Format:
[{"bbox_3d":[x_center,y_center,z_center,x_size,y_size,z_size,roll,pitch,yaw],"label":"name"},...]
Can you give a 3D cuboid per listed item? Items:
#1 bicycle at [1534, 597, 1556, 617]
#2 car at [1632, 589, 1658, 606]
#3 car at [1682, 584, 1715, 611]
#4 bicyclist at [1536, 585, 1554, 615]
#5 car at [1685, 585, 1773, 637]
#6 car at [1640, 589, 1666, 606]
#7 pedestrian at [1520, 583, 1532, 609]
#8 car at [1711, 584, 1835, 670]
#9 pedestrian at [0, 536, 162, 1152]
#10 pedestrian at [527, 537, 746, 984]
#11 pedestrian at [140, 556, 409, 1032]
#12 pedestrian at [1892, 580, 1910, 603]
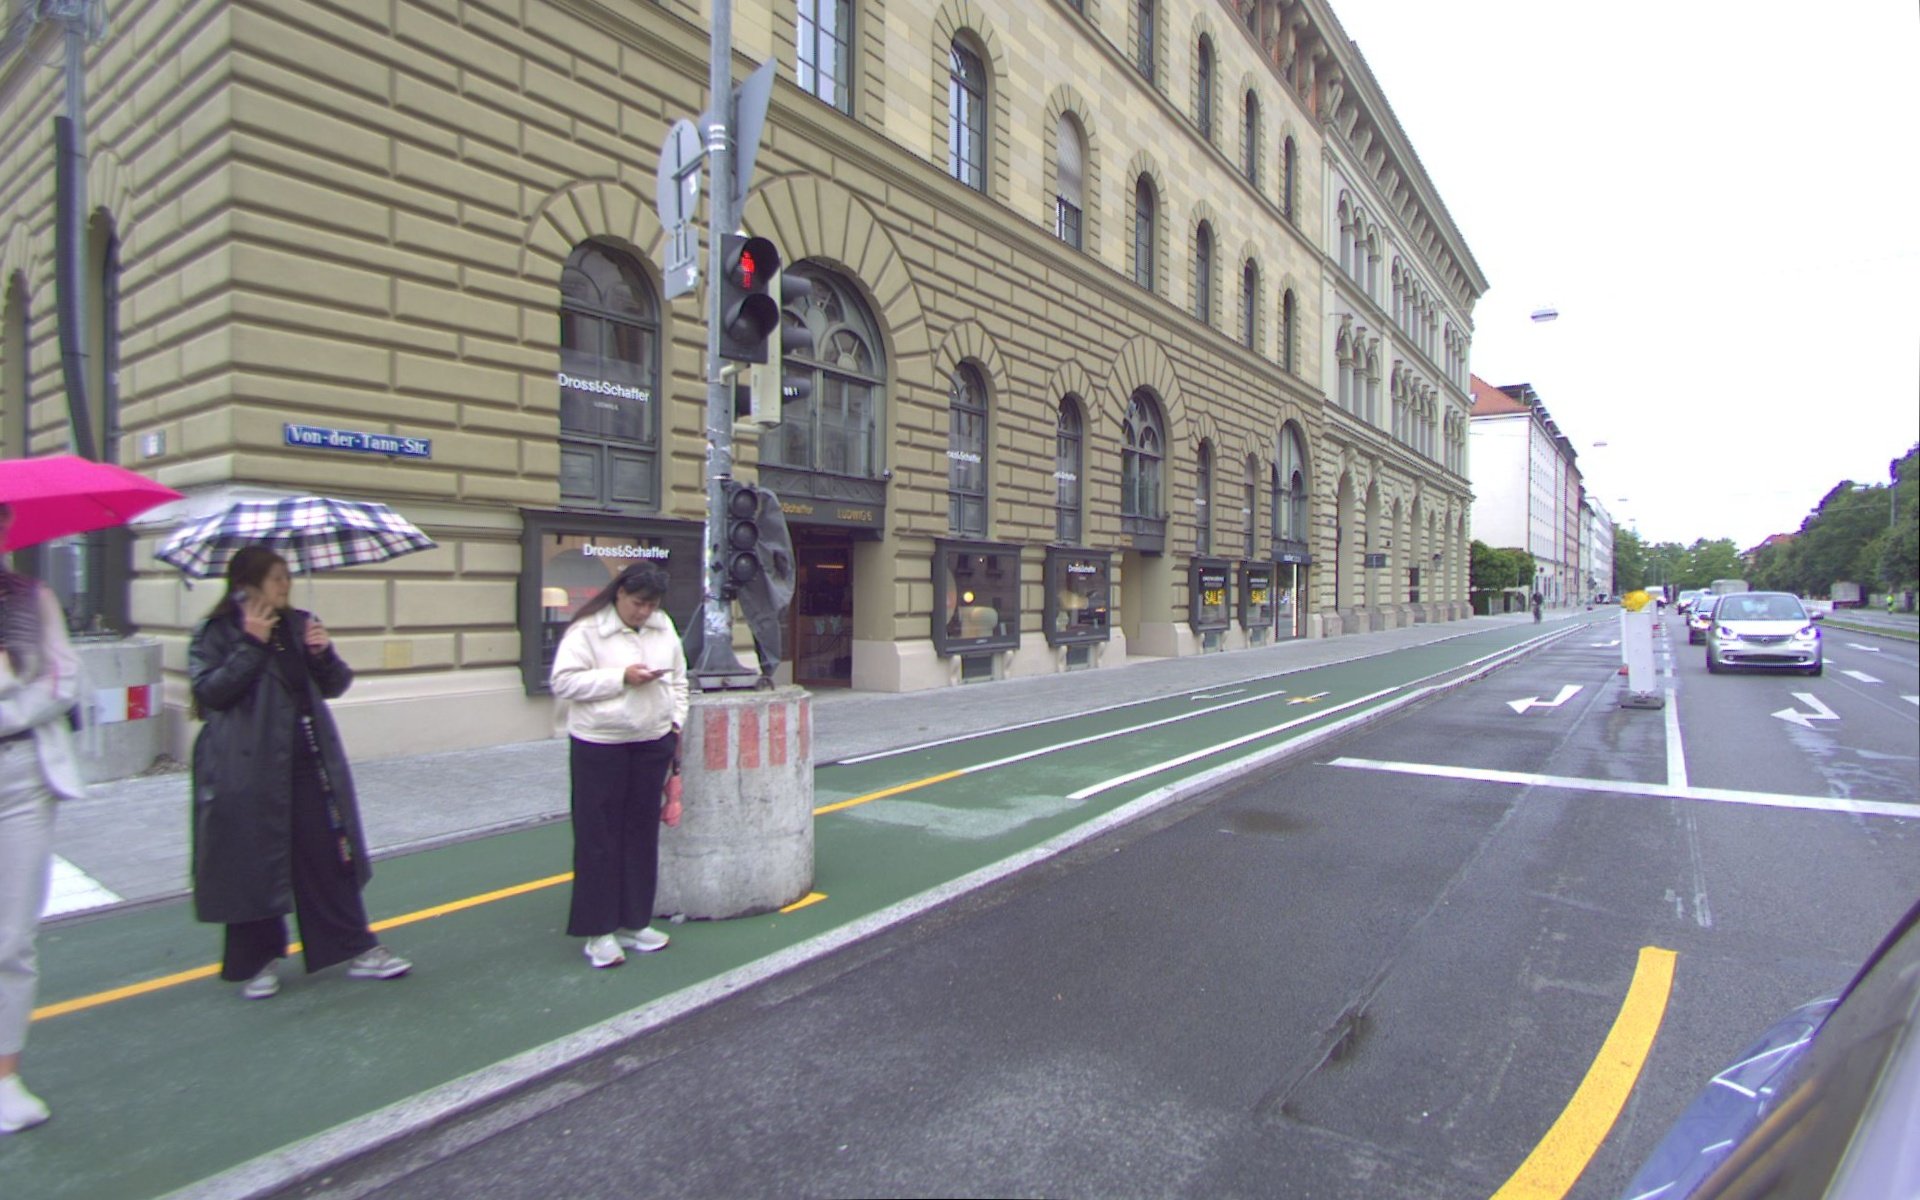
[{"bbox_3d":[30.517,0.354,52.796,0.746,1.045,2.499,-1,0,35],"label":"bicycle"},{"bbox_3d":[56.261,-0.195,83.092,1.729,1.337,3.949,-1,0,35],"label":"car"},{"bbox_3d":[57.858,-0.222,79.344,1.988,2.039,3.949,1,1,36],"label":"car"},{"bbox_3d":[30.529,0.012,52.828,0.720,1.572,0.848,-1,-1,35],"label":"bicyclist"},{"bbox_3d":[23.425,0.321,30.969,1.910,1.459,4.252,-2,-1,35],"label":"car"},{"bbox_3d":[59.684,-0.233,87.134,1.729,1.452,3.949,-1,0,35],"label":"car"},{"bbox_3d":[41.311,-0.285,73.847,0.651,1.897,0.815,2,1,36],"label":"pedestrian"},{"bbox_3d":[15.831,0.461,19.871,1.624,1.522,3.949,-1,0,35],"label":"car"},{"bbox_3d":[-2.722,0.630,2.871,0.701,1.587,0.576,-1,-1,38],"label":"pedestrian"},{"bbox_3d":[-1.319,0.590,4.153,0.530,1.640,0.664,-1,-1,38],"label":"pedestrian"},{"bbox_3d":[-2.618,0.647,3.870,0.701,1.587,0.672,-1,-1,38],"label":"pedestrian"},{"bbox_3d":[83.020,-0.773,89.322,0.850,2.039,0.759,-1,-1,-10],"label":"pedestrian"}]
